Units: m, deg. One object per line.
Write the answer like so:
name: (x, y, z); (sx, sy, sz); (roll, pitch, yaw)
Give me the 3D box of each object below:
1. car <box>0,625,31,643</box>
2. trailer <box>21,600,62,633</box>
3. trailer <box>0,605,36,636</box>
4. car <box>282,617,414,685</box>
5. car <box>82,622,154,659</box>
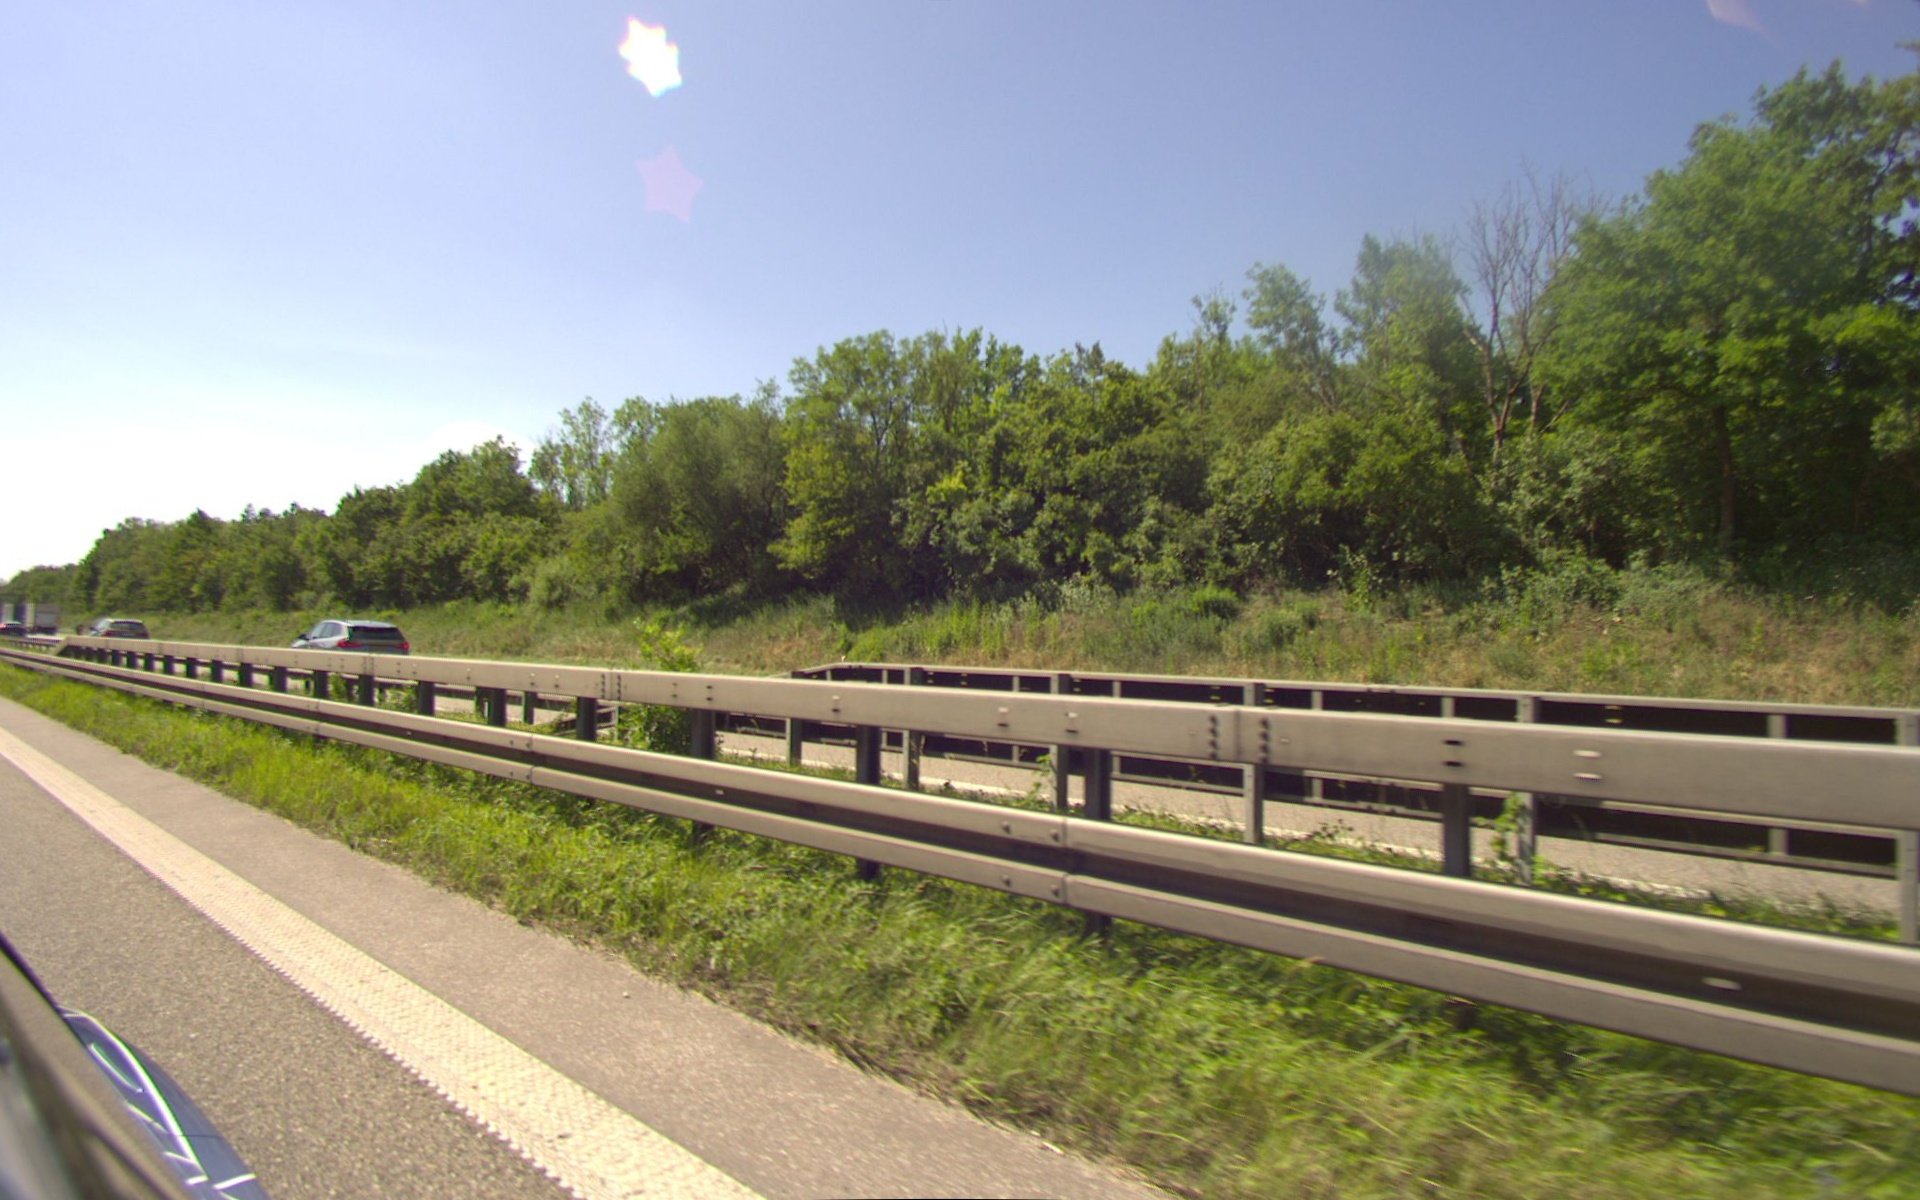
car: (-75.766, 2.705, 80.915); (4.147, 1.409, 1.695); (-1, -3, 41)
trailer: (-112.954, 2.111, 124.442); (7.689, 3.838, 2.683); (-1, -4, 42)
trailer: (-134.379, 2.933, 144.064); (14.163, 4.089, 2.587); (-1, -4, 42)
car: (-16.051, 1.287, 26.466); (4.229, 1.630, 1.743); (-1, -3, 41)
car: (-39.699, 1.894, 47.667); (4.798, 1.655, 1.788); (-1, -4, 41)
